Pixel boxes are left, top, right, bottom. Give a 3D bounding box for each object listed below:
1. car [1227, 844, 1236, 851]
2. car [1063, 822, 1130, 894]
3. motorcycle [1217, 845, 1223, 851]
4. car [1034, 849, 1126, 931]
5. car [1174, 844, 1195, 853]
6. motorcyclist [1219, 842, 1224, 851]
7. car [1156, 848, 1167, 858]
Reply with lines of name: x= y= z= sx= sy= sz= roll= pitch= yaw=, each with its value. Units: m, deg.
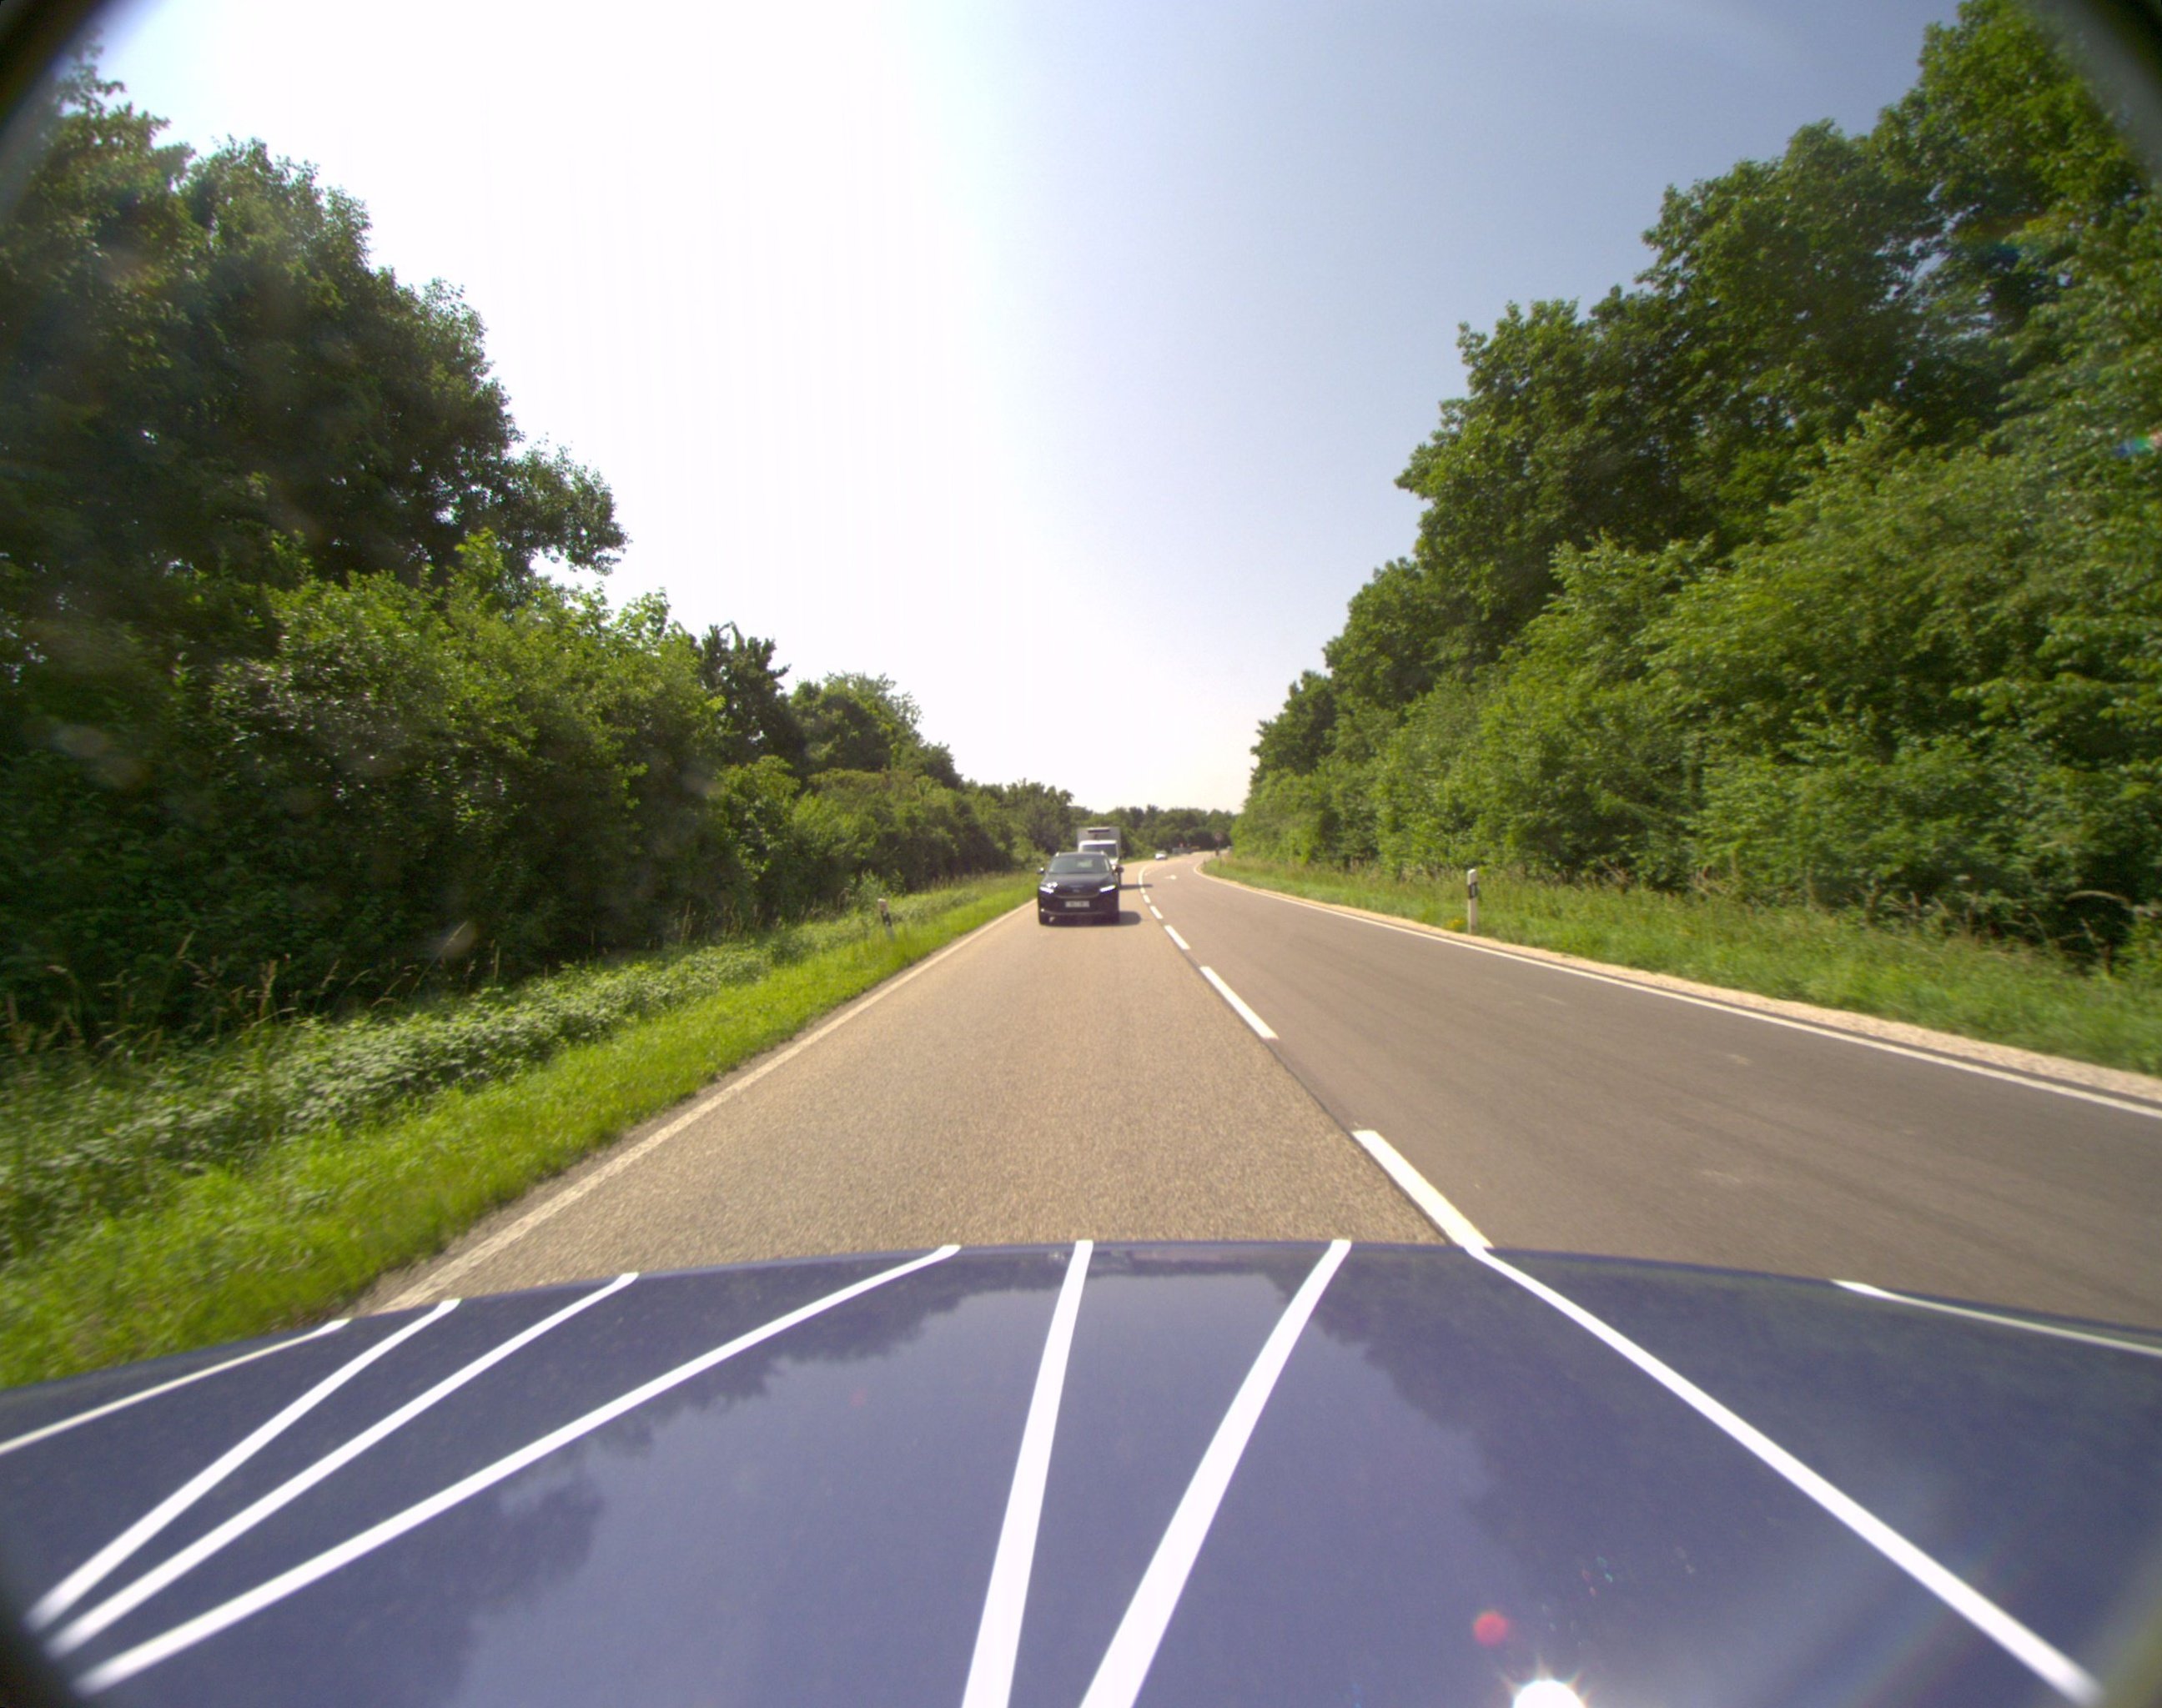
car: x=38.011 y=-1.555 z=191.783 sx=1.806 sy=1.627 sz=4.214 roll=-2 pitch=1 yaw=8
car: x=0.910 y=0.095 z=36.820 sx=2.591 sy=3.047 sz=6.883 roll=-2 pitch=2 yaw=6
motorcycle: x=28.580 y=-1.308 z=156.669 sx=0.949 sy=1.243 sz=2.683 roll=-2 pitch=0 yaw=4
car: x=-0.026 y=0.783 z=19.464 sx=1.924 sy=1.711 sz=5.478 roll=-3 pitch=0 yaw=0
car: x=27.323 y=-1.489 z=200.667 sx=5.226 sy=1.896 sz=2.013 roll=-3 pitch=2 yaw=0
motorcyclist: x=28.839 y=-1.581 z=156.137 sx=0.832 sy=1.742 sz=0.623 roll=-2 pitch=1 yaw=4
car: x=14.384 y=-0.149 z=136.110 sx=1.808 sy=1.797 sz=4.002 roll=-2 pitch=0 yaw=7
